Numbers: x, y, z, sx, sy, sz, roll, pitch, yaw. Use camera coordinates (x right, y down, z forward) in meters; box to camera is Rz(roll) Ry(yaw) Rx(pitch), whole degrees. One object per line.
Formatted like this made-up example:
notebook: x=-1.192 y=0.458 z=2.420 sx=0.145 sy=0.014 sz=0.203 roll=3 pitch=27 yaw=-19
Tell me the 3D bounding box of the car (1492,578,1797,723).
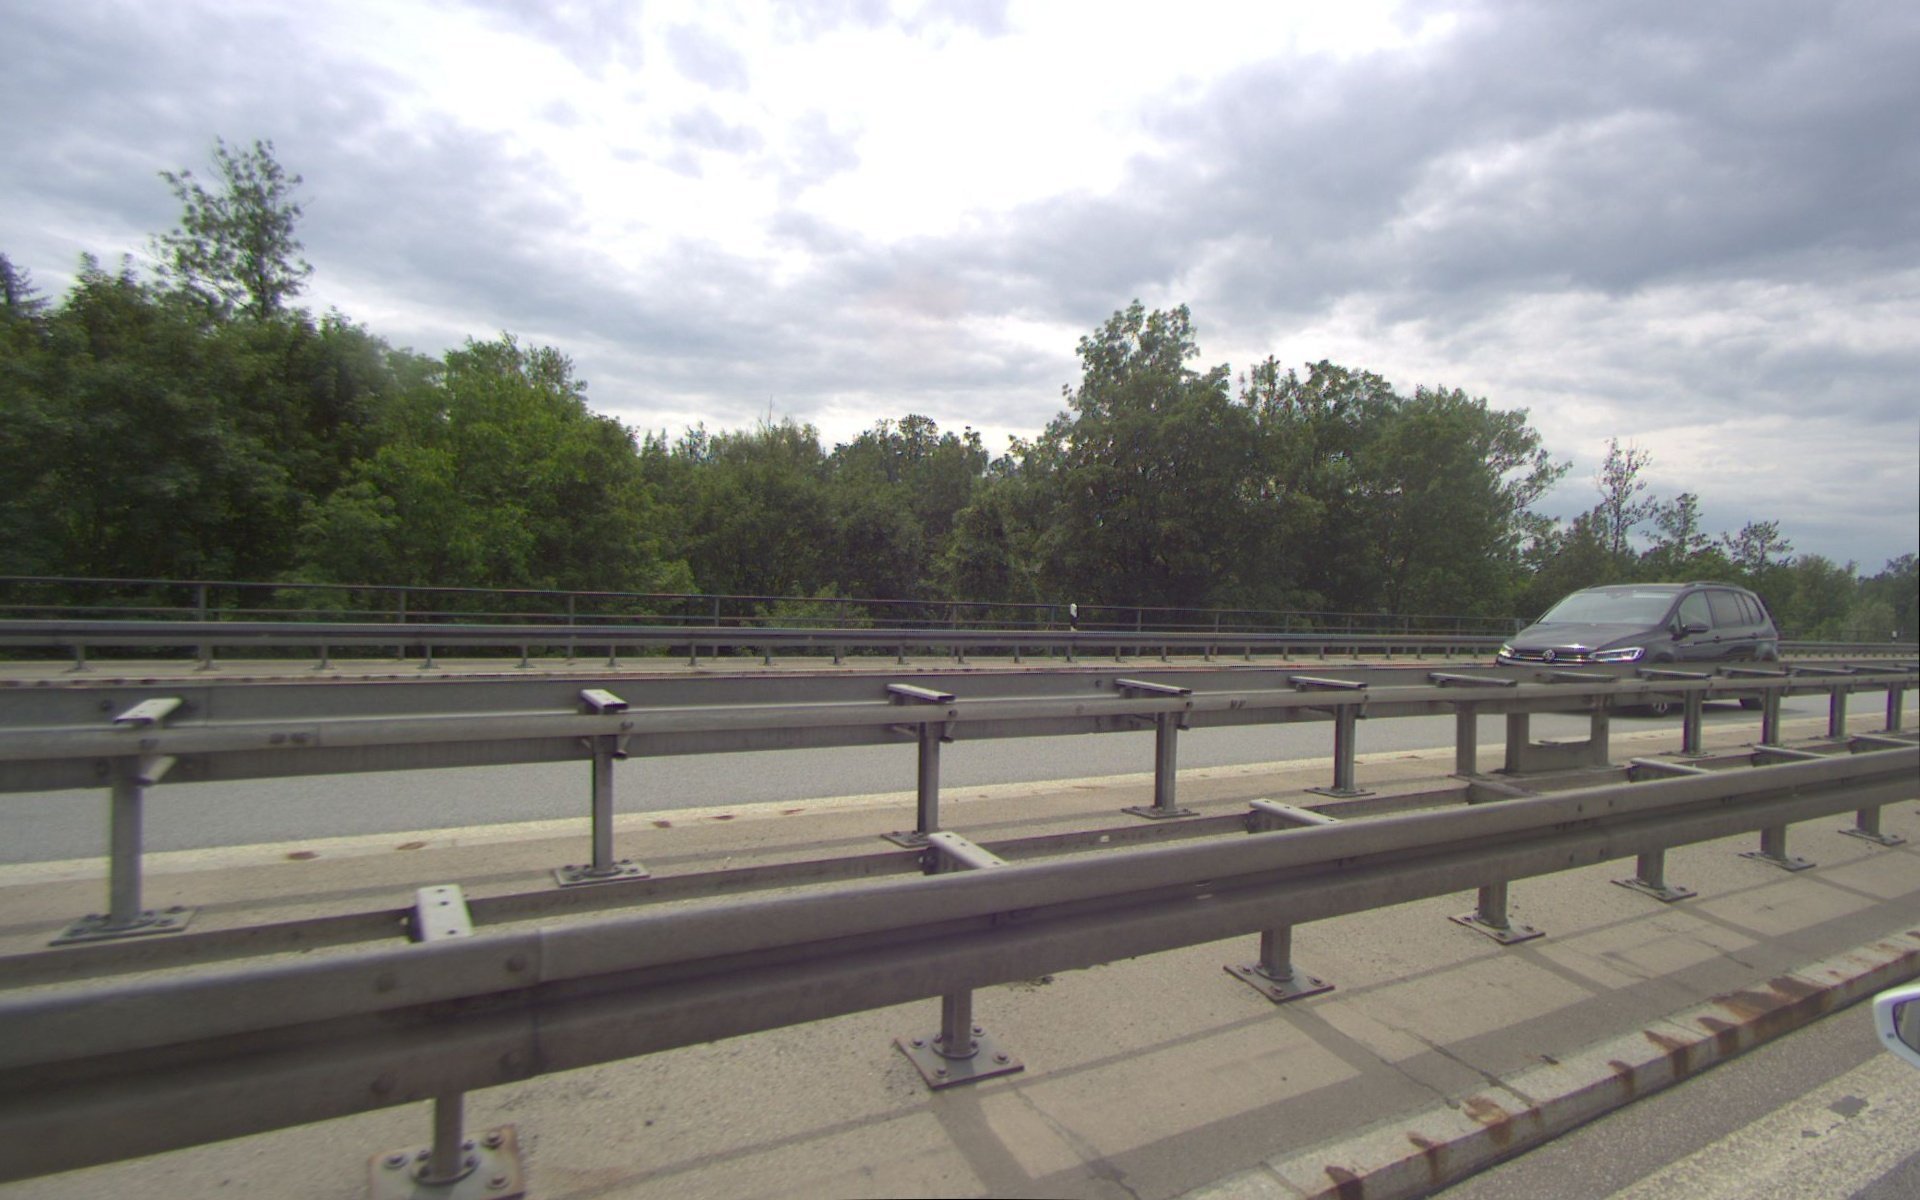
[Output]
car: x=8.876 y=0.610 z=12.974 sx=3.952 sy=1.627 sz=1.637 roll=2 pitch=0 yaw=-29
